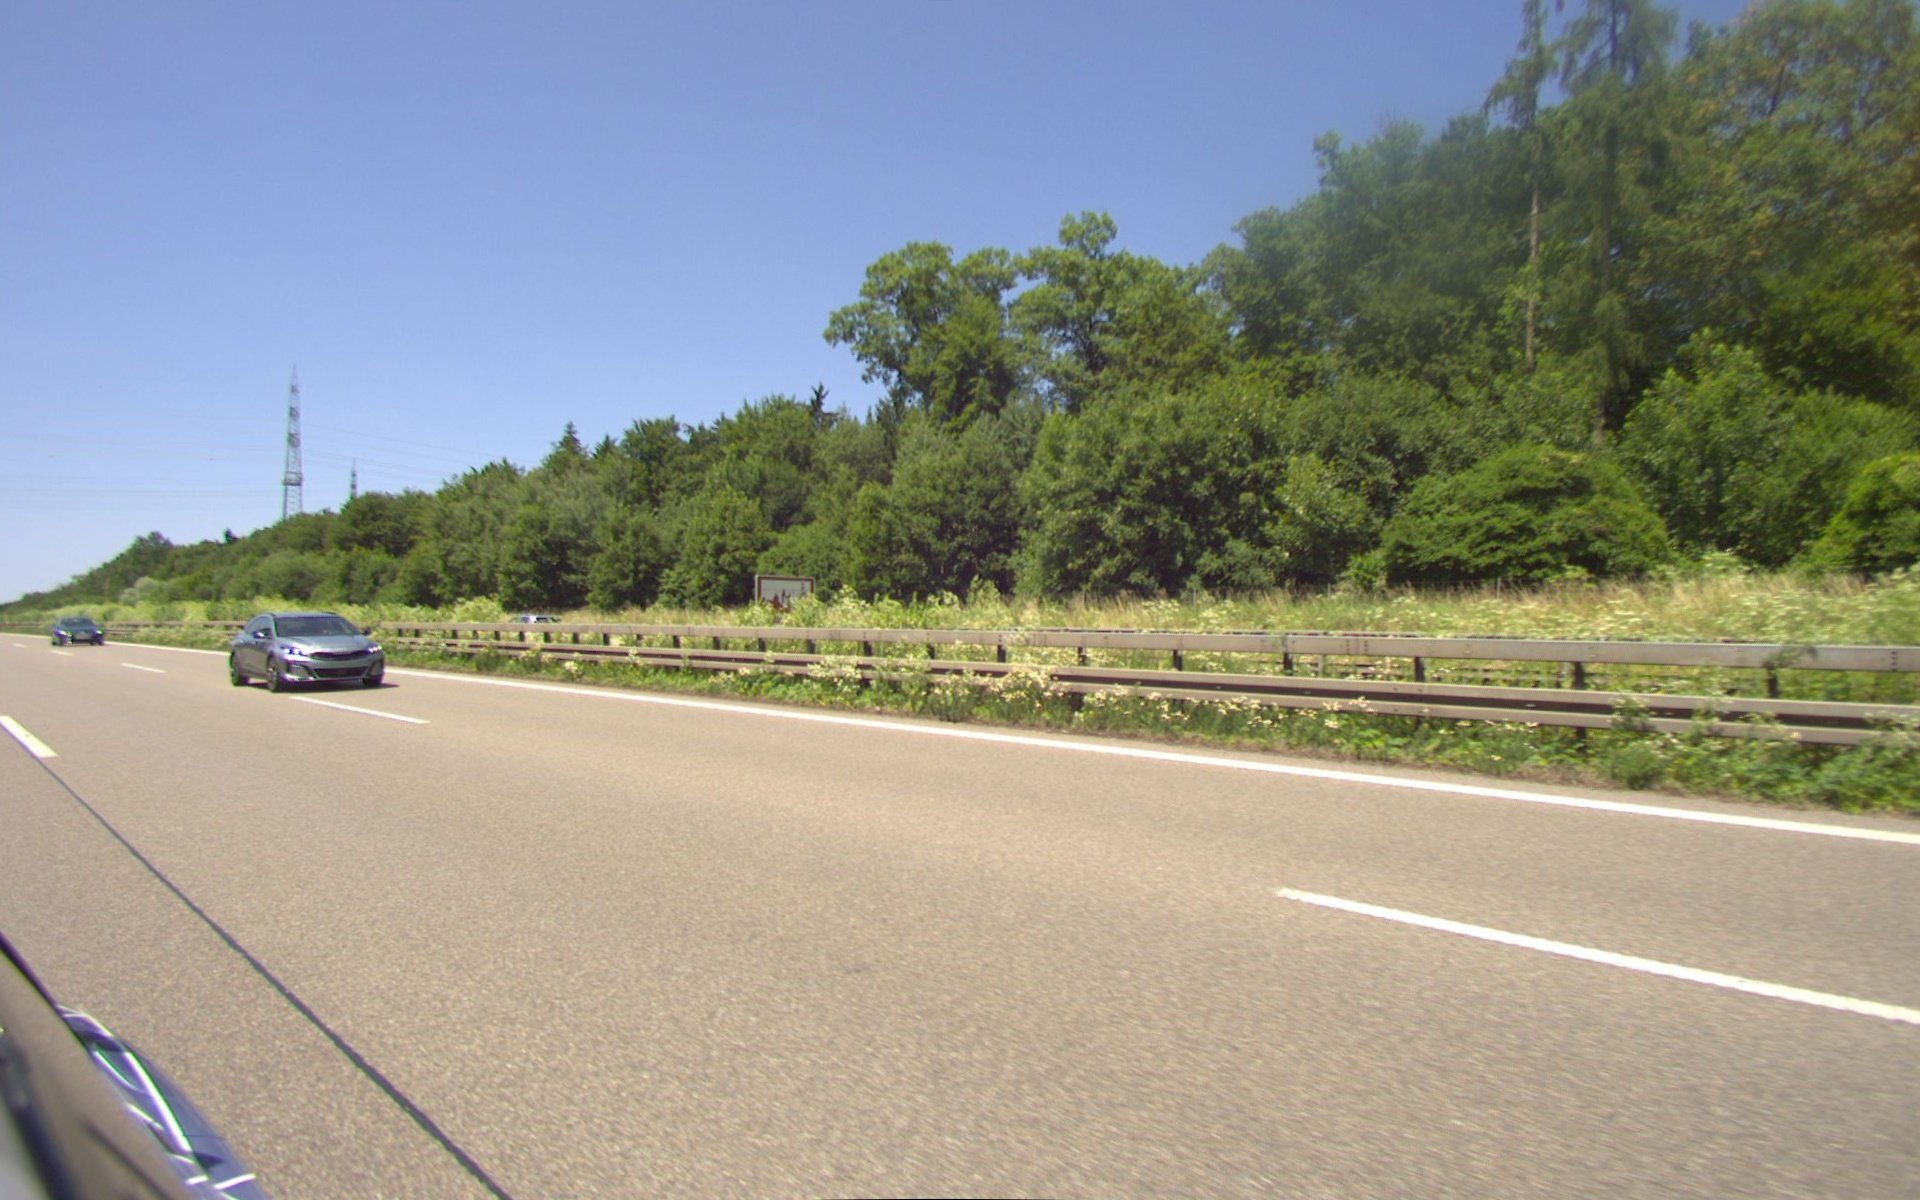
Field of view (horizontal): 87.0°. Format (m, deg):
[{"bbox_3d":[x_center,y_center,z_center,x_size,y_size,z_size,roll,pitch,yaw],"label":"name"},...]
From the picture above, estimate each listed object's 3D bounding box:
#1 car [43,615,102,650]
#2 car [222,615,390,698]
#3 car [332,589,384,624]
[{"bbox_3d":[-43.947,1.575,50.076,3.941,1.632,1.719,-1,0,41],"label":"car"},{"bbox_3d":[-12.747,1.014,19.641,3.998,1.419,1.745,-1,0,42],"label":"car"},{"bbox_3d":[-36.531,0.393,61.357,3.615,2.029,1.681,-1,0,41],"label":"car"}]
